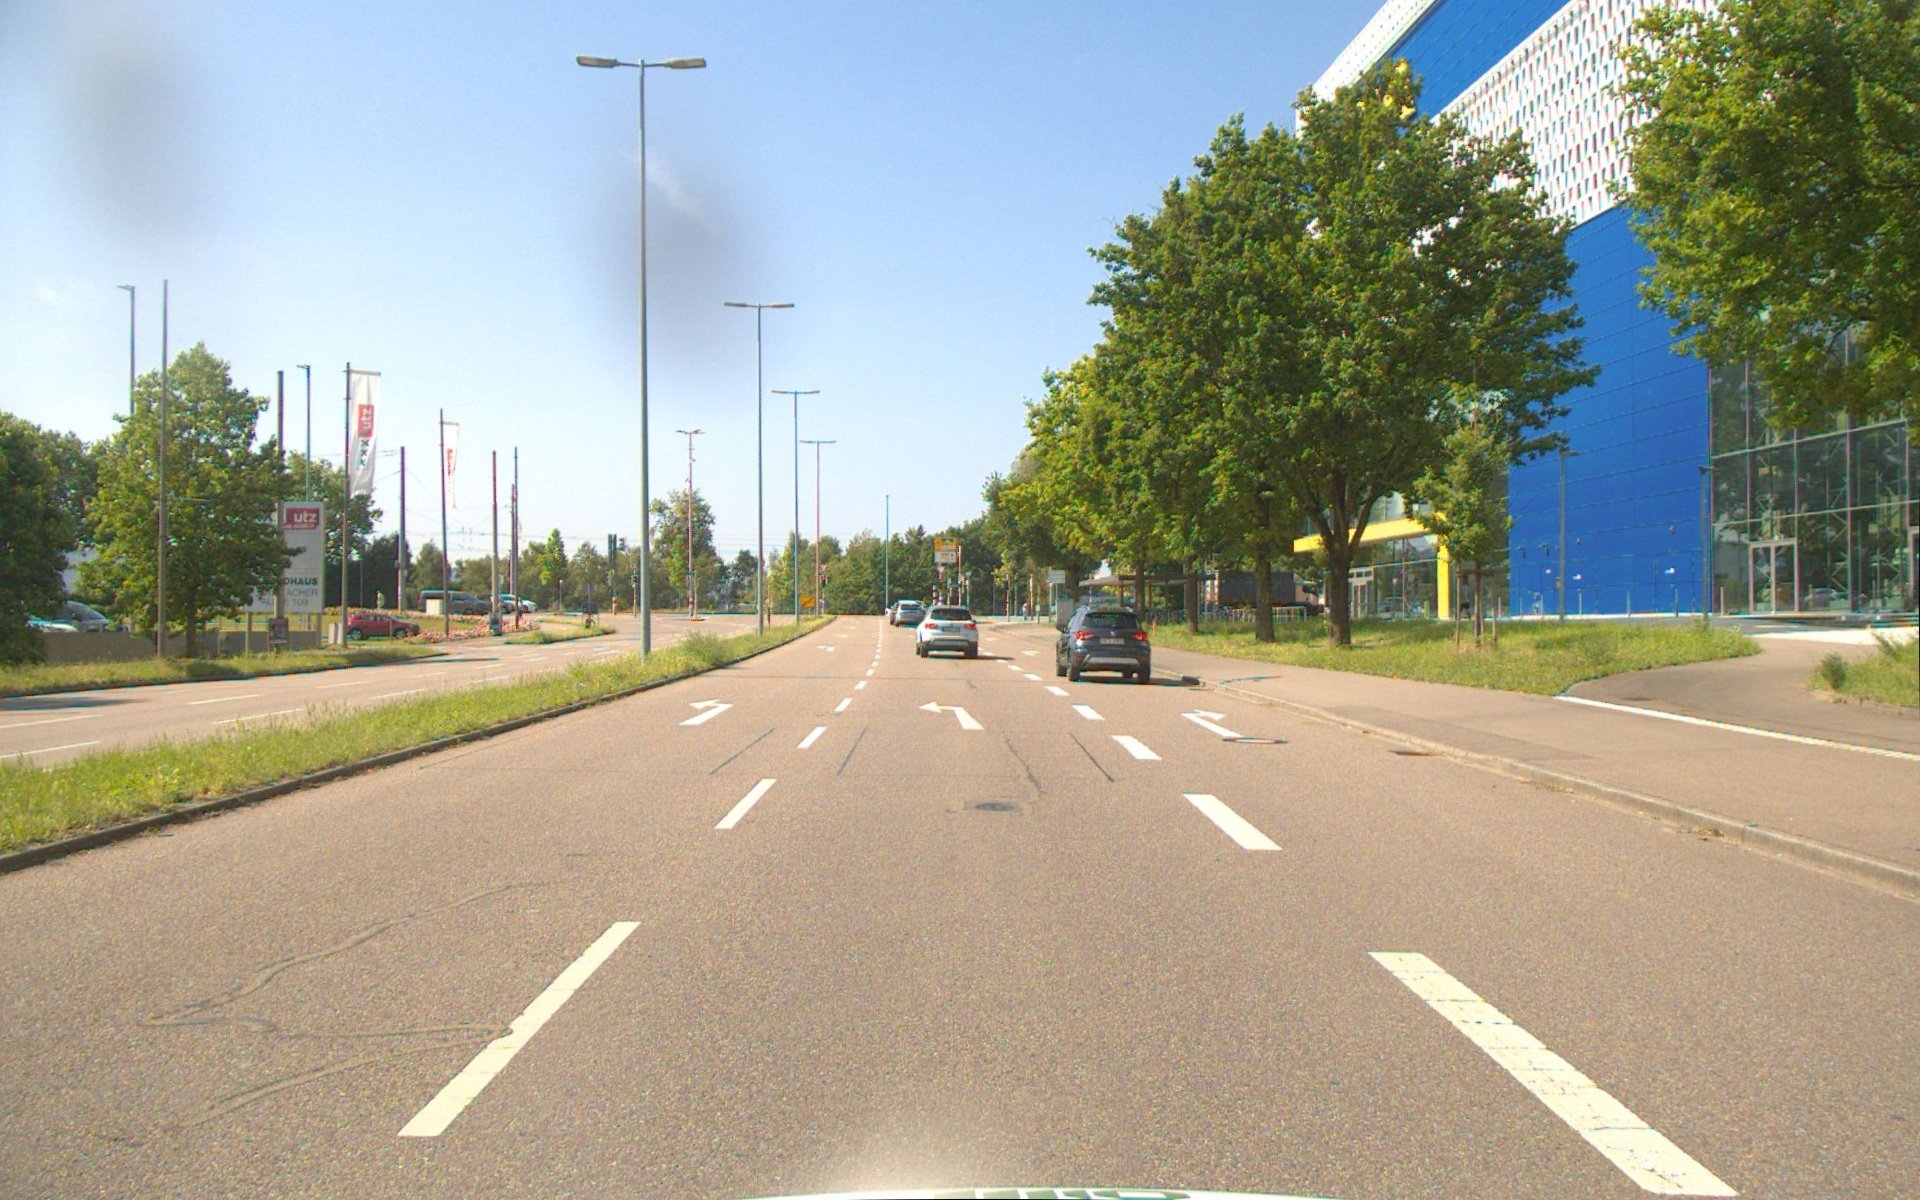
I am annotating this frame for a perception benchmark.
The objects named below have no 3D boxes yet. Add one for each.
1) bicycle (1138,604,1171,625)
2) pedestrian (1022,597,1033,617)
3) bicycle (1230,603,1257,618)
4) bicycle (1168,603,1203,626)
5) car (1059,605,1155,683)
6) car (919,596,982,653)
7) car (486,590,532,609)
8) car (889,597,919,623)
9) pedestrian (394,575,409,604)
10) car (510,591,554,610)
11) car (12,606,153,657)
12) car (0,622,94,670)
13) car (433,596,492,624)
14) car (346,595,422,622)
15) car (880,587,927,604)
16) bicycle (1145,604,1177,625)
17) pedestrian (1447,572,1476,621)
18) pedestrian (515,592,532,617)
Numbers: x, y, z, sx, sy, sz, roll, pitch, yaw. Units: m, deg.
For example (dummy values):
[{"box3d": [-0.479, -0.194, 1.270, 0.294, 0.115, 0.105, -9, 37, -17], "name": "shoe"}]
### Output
[{"box3d": [10.670, 0.786, 90.759, 1.723, 1.115, 0.452, -1, 0, -3], "name": "bicycle"}, {"box3d": [5.258, 0.538, 129.412, 0.756, 1.537, 1.008, 0, 1, 8], "name": "pedestrian"}, {"box3d": [16.497, 0.634, 96.215, 1.530, 0.858, 0.433, 0, 0, -1], "name": "bicycle"}, {"box3d": [11.537, 0.733, 84.569, 1.723, 1.115, 0.452, -1, 0, -3], "name": "bicycle"}, {"box3d": [3.080, 0.901, 35.208, 1.636, 1.550, 3.375, 1, 0, -2], "name": "car"}, {"box3d": [-0.322, 0.697, 49.705, 1.599, 1.524, 3.866, 0, 2, -5], "name": "car"}, {"box3d": [-35.975, -0.032, 131.846, 3.320, 1.526, 1.408, 0, -2, -5], "name": "car"}, {"box3d": [-3.520, 0.608, 102.900, 1.672, 1.600, 4.170, -1, 0, -4], "name": "car"}, {"box3d": [-40.110, -0.749, 118.794, 0.701, 2.007, 0.918, 0, -2, 2], "name": "pedestrian"}, {"box3d": [-35.251, 0.050, 136.235, 3.279, 1.526, 1.407, 0, -2, -7], "name": "car"}, {"box3d": [-33.525, 1.208, 63.308, 4.325, 1.875, 1.944, 0, -1, -4], "name": "car"}, {"box3d": [-33.302, 1.627, 58.512, 4.326, 1.656, 1.869, 0, -2, -5], "name": "car"}, {"box3d": [-37.621, 0.730, 125.143, 3.904, 1.959, 1.817, 1, 1, 19], "name": "car"}, {"box3d": [-35.068, 0.510, 100.779, 4.104, 1.634, 1.823, 0, -2, -8], "name": "car"}, {"box3d": [-5.312, -0.411, 155.572, 4.015, 1.574, 1.788, 0, -1, -22], "name": "car"}, {"box3d": [11.281, 0.814, 92.894, 1.723, 1.115, 0.452, -1, 0, -3], "name": "bicycle"}, {"box3d": [17.041, -0.114, 56.171, 0.675, 1.640, 0.770, -1, 0, -6], "name": "pedestrian"}, {"box3d": [-30.911, 0.301, 117.185, 0.822, 1.737, 0.906, -1, 0, 9], "name": "pedestrian"}]
